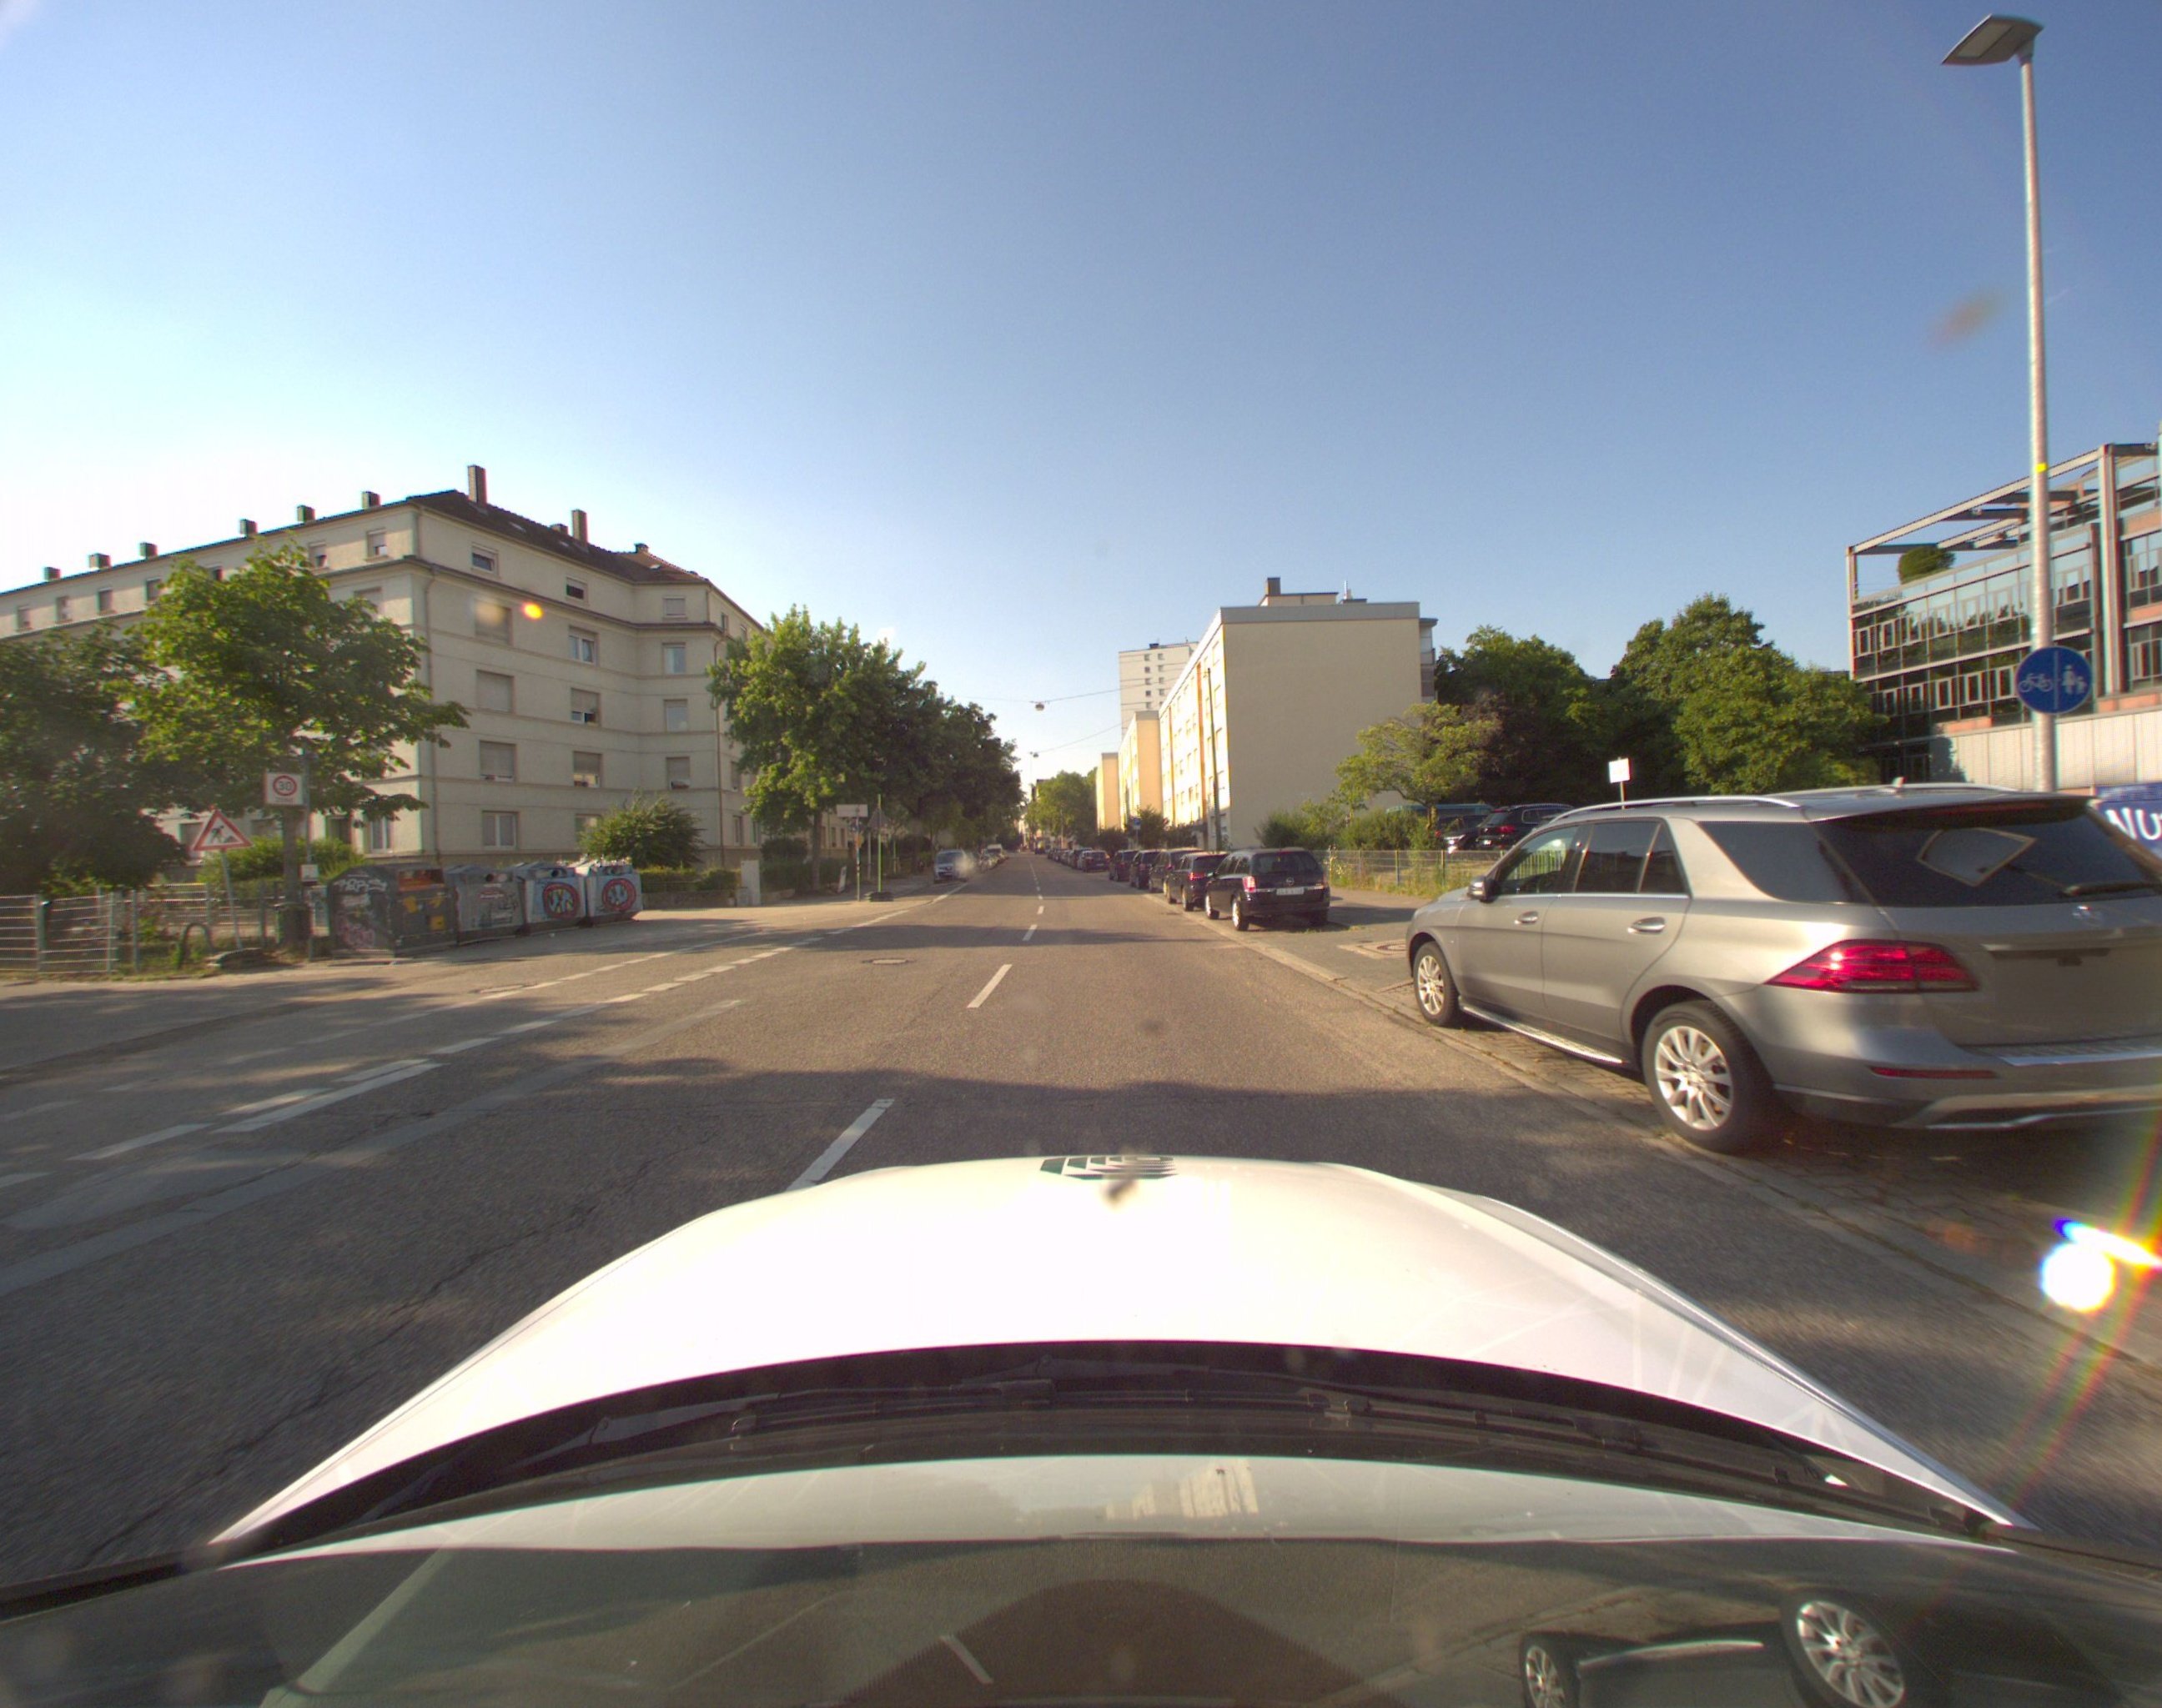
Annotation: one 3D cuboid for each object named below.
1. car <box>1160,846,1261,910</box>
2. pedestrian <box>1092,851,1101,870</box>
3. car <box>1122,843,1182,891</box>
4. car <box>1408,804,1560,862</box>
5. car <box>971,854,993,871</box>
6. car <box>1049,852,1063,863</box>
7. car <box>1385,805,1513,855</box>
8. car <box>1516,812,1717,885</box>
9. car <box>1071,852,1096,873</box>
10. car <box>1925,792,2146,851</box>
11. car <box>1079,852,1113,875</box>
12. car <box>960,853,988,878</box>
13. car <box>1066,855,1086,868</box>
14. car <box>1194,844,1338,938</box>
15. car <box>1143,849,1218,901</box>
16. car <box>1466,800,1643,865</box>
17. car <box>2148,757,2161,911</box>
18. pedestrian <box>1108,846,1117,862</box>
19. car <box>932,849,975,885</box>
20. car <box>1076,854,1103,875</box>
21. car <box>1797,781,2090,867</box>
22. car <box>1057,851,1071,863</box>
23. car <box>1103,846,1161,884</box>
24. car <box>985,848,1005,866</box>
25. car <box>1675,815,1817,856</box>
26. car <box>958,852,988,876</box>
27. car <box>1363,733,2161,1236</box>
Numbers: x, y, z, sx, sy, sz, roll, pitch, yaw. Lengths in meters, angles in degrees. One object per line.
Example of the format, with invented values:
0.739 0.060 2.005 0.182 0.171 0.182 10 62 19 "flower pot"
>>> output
3.377 0.612 22.156 1.896 1.529 4.807 0 -1 -1 "car"
1.561 0.669 82.122 0.887 1.890 1.277 0 -1 -4 "pedestrian"
2.729 0.512 32.370 1.896 1.779 4.579 0 -1 -1 "car"
13.011 -0.653 26.484 3.977 1.794 1.998 0 -1 -3 "car"
-9.236 0.841 76.279 2.002 1.552 4.462 0 -1 -6 "car"
-3.999 0.600 130.155 1.895 1.651 4.334 3 0 -6 "car"
13.984 -0.893 31.077 3.979 1.794 1.997 0 -1 -4 "car"
13.770 -0.121 21.110 3.979 1.794 1.997 0 -1 -4 "car"
0.159 0.730 68.383 1.768 1.678 4.639 0 -1 -4 "car"
27.565 -0.922 23.607 4.464 1.602 1.731 0 -1 -2 "car"
1.011 0.668 57.273 1.796 1.507 4.612 2 -1 -6 "car"
-7.786 0.850 59.762 1.871 1.759 4.680 0 -1 -6 "car"
-0.608 0.809 90.593 1.871 1.442 3.991 0 -1 -6 "car"
3.573 0.682 16.561 1.737 1.540 4.437 -3 -1 -1 "car"
3.235 0.648 27.205 1.648 1.436 3.953 -2 2 -5 "car"
13.529 -0.586 23.452 3.979 1.794 1.997 0 -1 -4 "car"
12.538 -0.244 6.919 1.648 1.662 3.997 0 -1 -2 "car"
3.261 -0.004 84.306 0.764 1.658 0.535 -4 -1 -4 "pedestrian"
-6.943 0.711 44.613 1.837 1.896 4.482 0 -1 -3 "car"
0.637 0.791 63.170 1.768 1.508 3.994 -2 -1 -4 "car"
18.154 -0.537 17.472 1.989 1.626 3.996 0 -1 -3 "car"
-2.263 0.440 107.068 1.833 1.501 4.167 0 -1 -3 "car"
2.403 0.529 39.644 1.884 1.561 4.936 -5 0 -6 "car"
-11.395 0.431 108.451 2.353 2.445 6.156 0 -1 -4 "car"
27.270 -0.736 33.475 4.464 1.602 1.731 0 -1 -2 "car"
-7.344 0.703 55.479 1.871 1.552 3.991 0 -1 -6 "car"
3.825 0.489 5.508 1.916 1.779 4.807 -6 -1 -1 "car"
